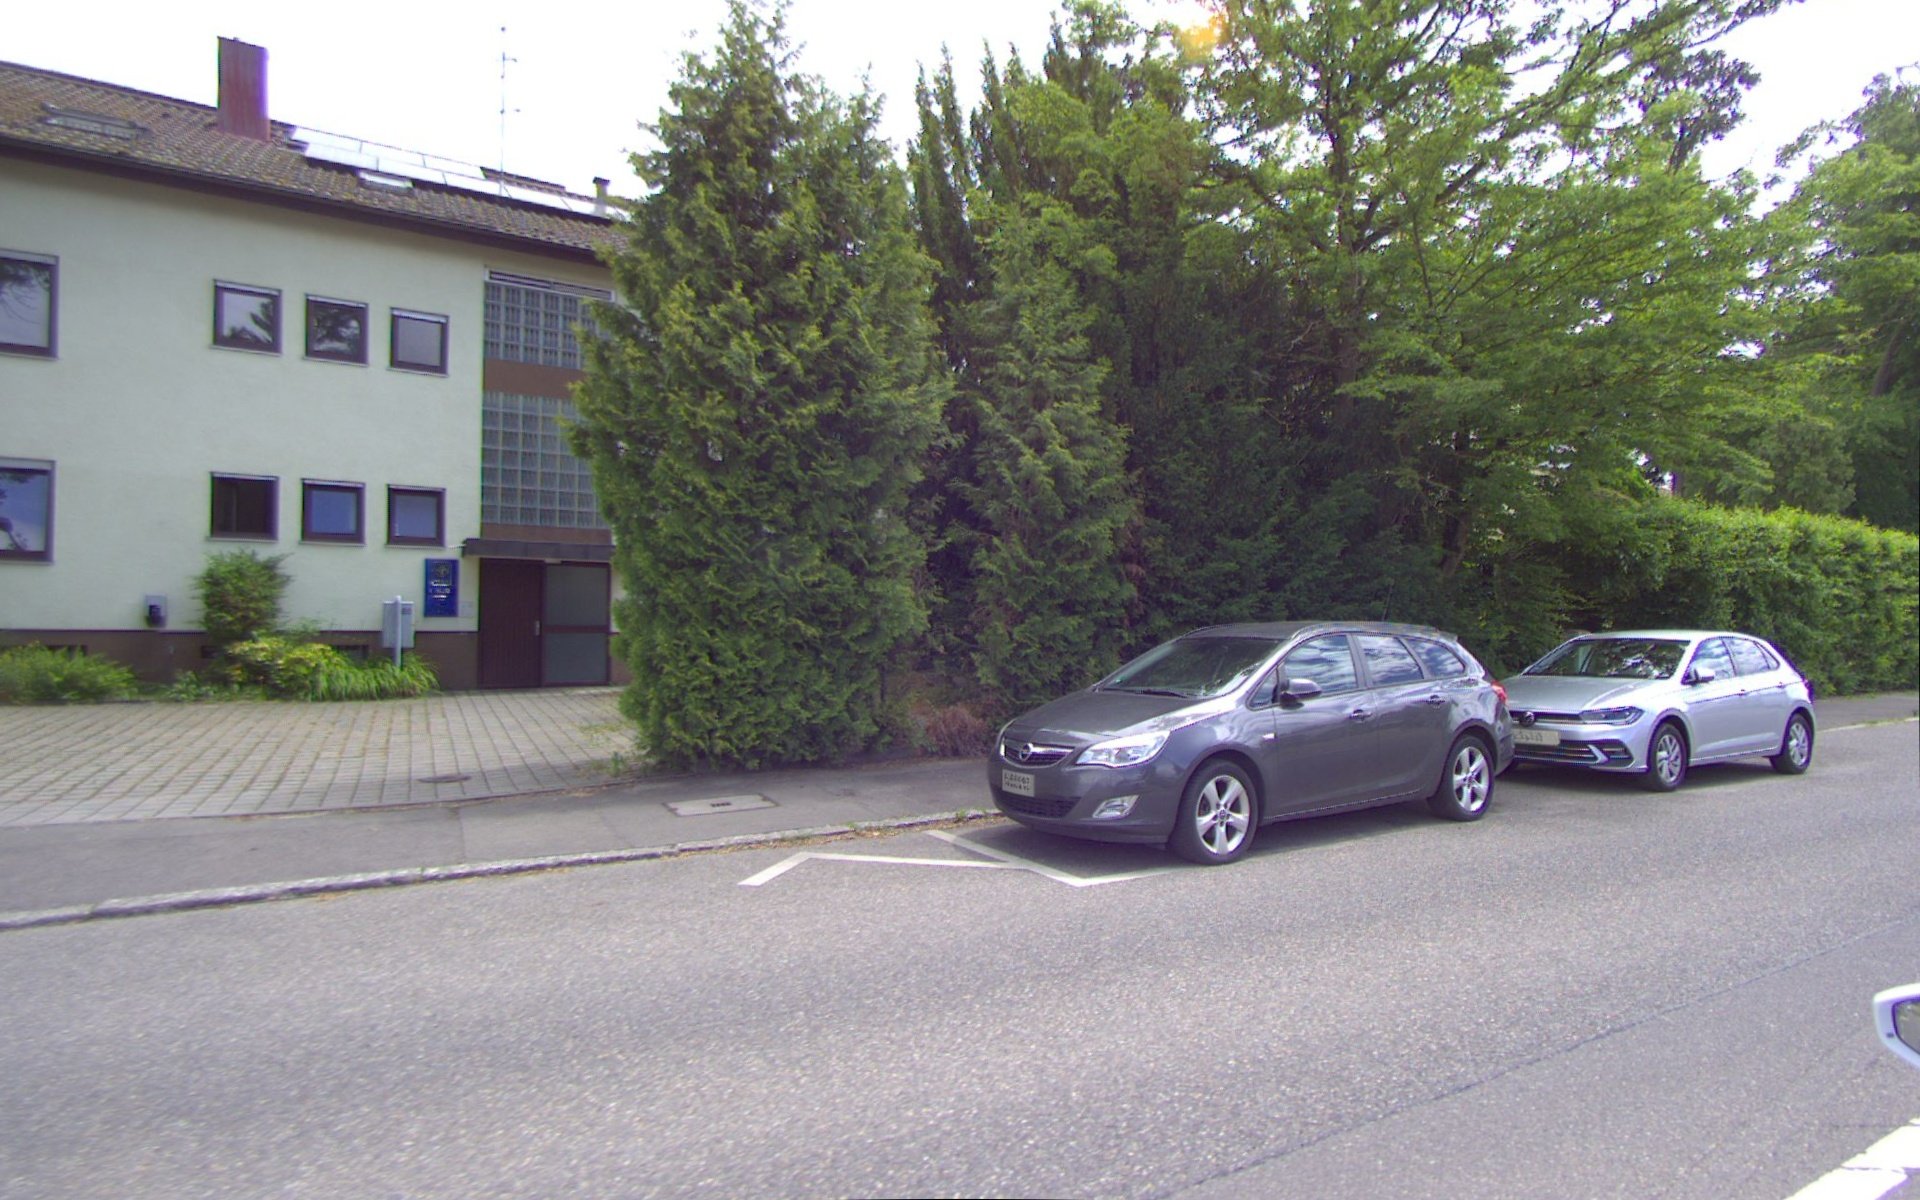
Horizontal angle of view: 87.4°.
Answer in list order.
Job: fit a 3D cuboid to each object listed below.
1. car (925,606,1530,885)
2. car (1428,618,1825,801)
[{"bbox_3d":[2.085,0.863,7.401,4.426,1.524,1.728,1,-2,-31],"label":"car"},{"bbox_3d":[6.764,0.977,10.145,3.914,1.524,1.729,1,-2,-29],"label":"car"}]
